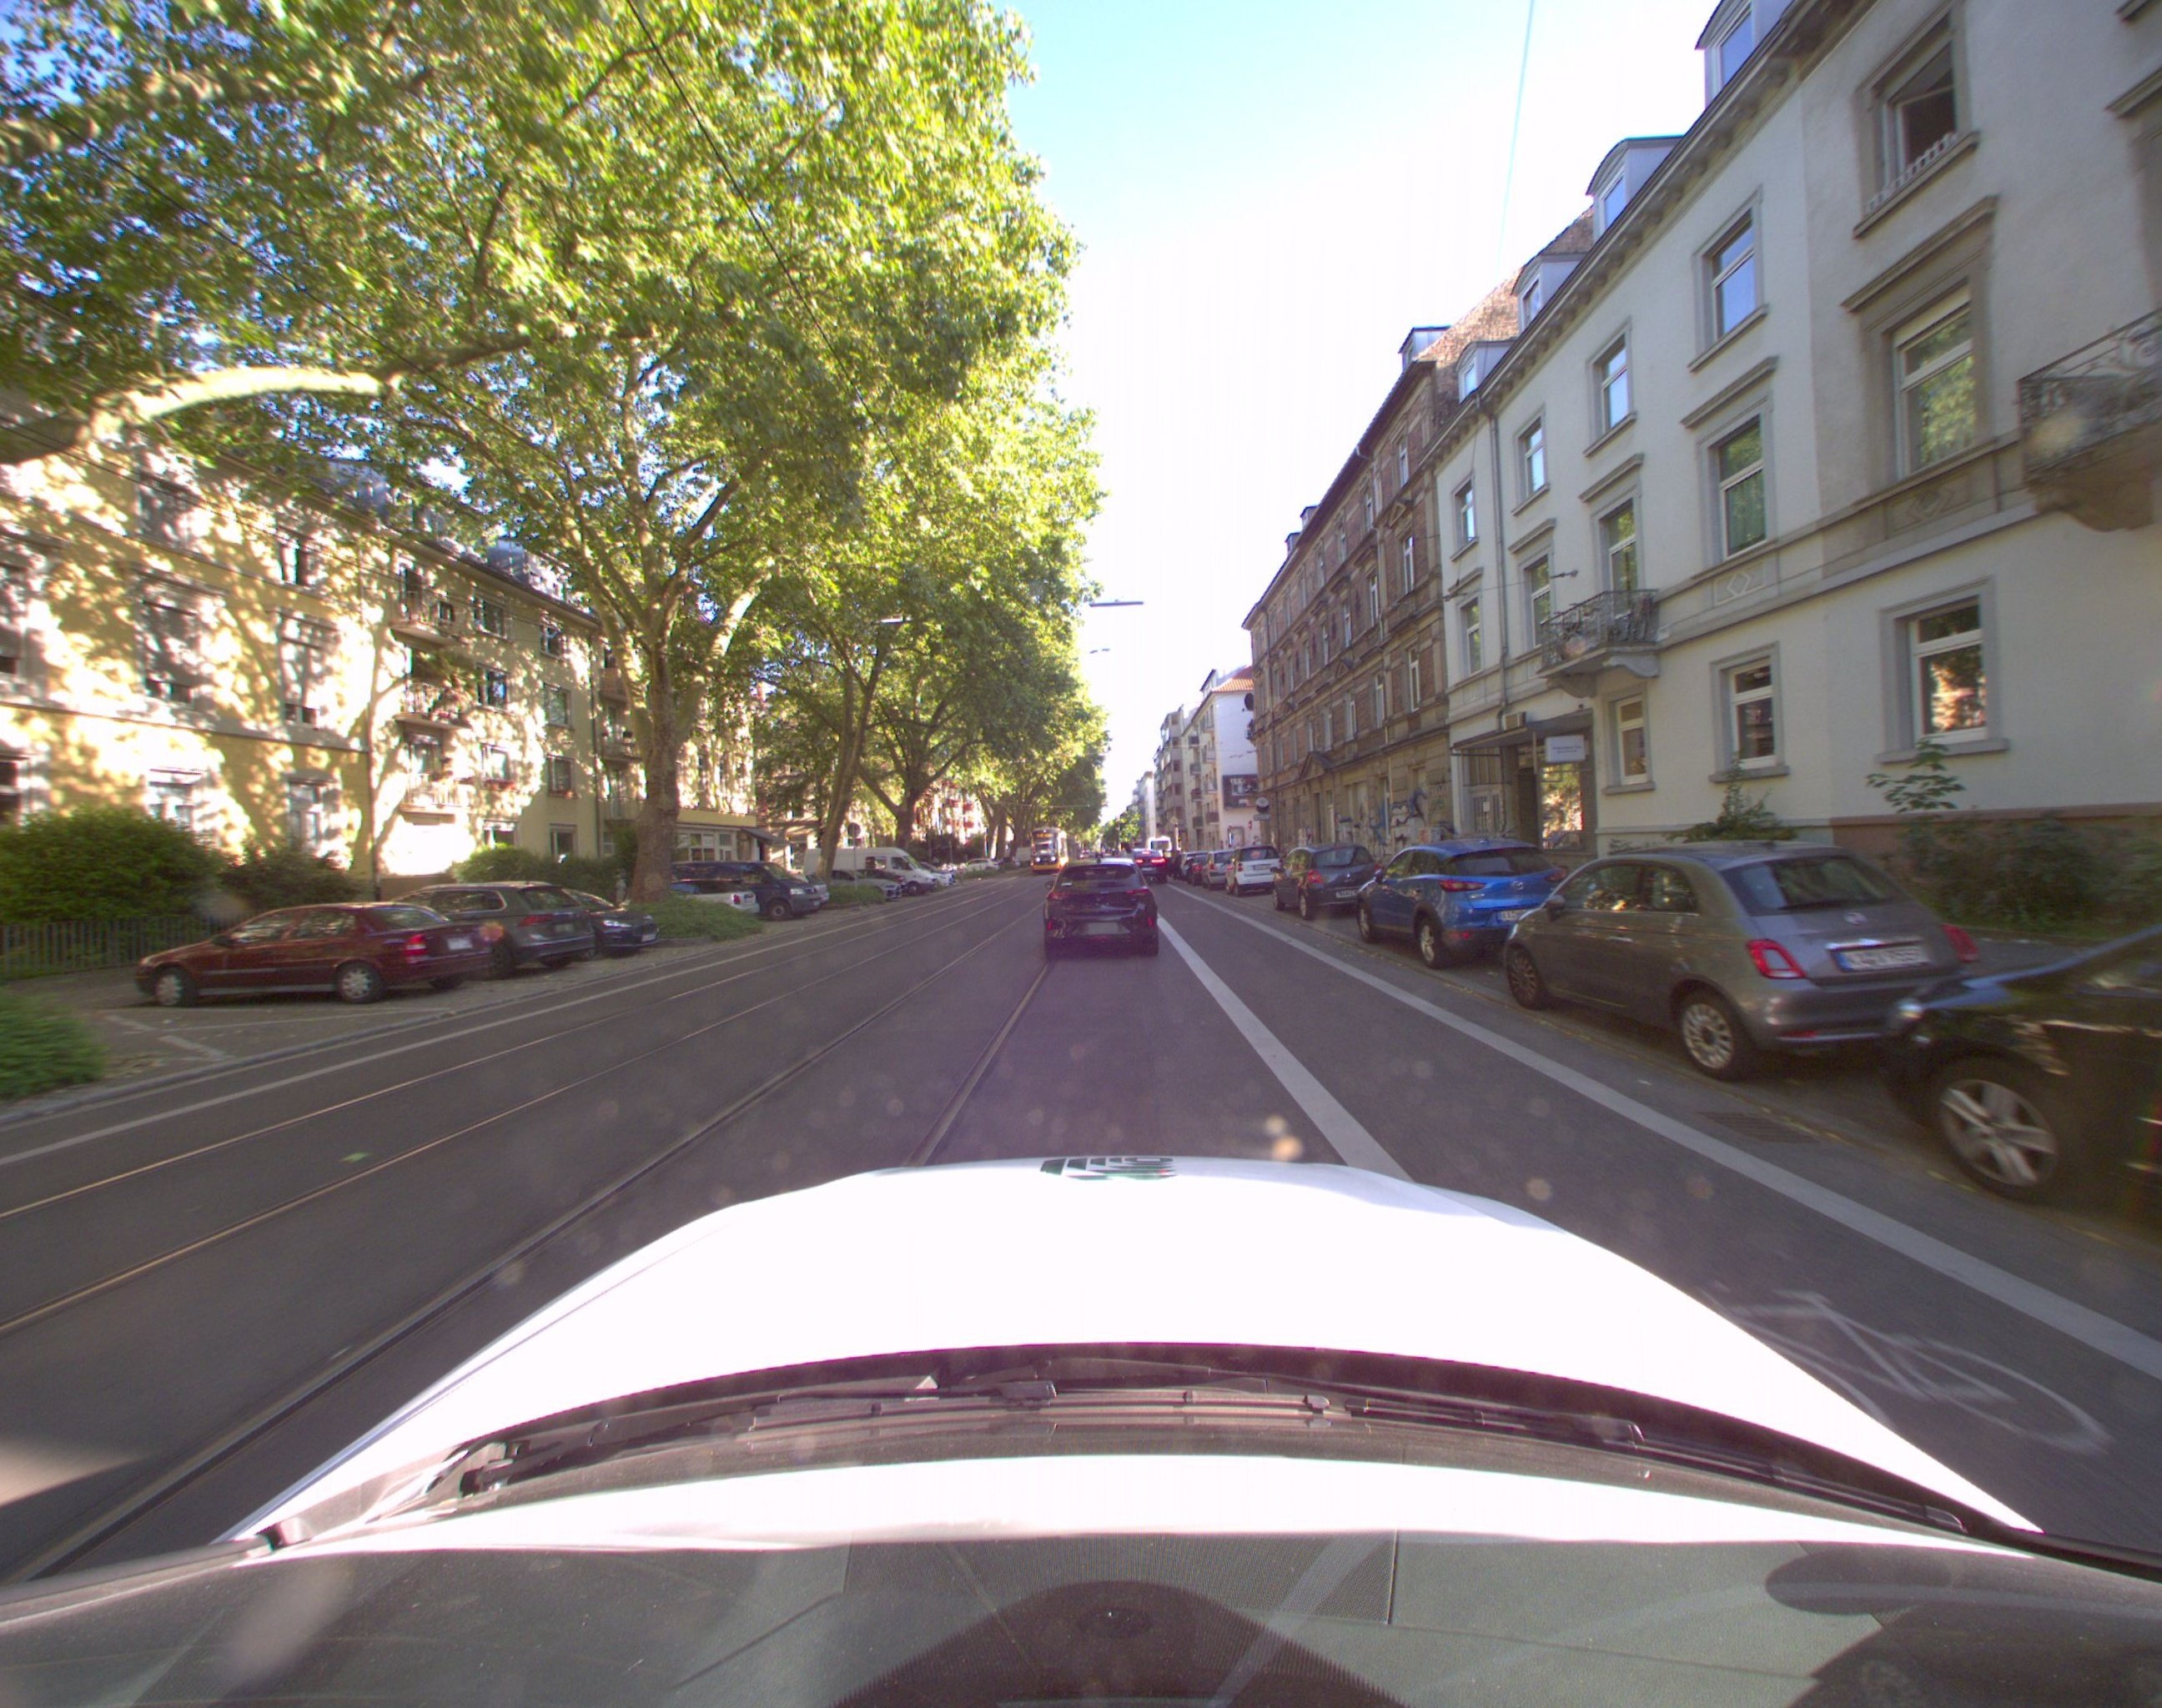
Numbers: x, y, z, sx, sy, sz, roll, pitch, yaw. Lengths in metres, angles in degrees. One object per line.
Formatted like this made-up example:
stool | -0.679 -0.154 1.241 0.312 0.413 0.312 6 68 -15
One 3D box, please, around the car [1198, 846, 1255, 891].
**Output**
car | 5.552 0.520 31.419 1.697 1.456 3.702 -6 0 5

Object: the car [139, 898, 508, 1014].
car | -11.216 1.477 12.262 3.905 1.442 1.749 -1 0 1

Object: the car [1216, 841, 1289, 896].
car | 5.492 0.437 26.364 1.563 1.517 3.039 -6 0 -1

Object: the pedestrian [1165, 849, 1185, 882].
pedestrian | 4.590 0.558 39.581 0.861 1.567 0.770 -2 0 8

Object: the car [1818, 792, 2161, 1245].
car | 4.840 0.558 2.299 1.874 1.585 3.933 -6 0 1

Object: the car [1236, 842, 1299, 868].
car | 14.087 0.066 61.651 4.363 1.798 1.876 -2 0 0

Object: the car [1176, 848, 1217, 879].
car | 5.982 0.470 42.557 1.655 1.419 3.936 -6 0 3

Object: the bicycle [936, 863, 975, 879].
bicycle | -9.994 1.379 64.879 2.919 1.169 0.995 -2 0 18

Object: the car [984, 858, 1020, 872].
car | -9.086 1.251 93.505 3.909 1.498 1.676 -1 0 -2

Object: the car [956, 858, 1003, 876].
car | -8.988 1.181 72.427 3.909 1.498 1.676 -1 0 -2

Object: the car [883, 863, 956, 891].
car | -9.486 1.340 48.048 3.909 1.498 1.676 -1 0 -2

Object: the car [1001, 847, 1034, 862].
car | -8.002 0.100 102.851 3.909 1.790 1.676 -1 0 -2

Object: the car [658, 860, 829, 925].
car | -10.822 1.202 26.346 4.656 1.924 1.981 -1 0 2

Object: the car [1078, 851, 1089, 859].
car | 0.460 0.190 149.221 1.802 1.338 3.935 -3 0 3

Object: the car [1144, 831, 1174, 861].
car | 6.558 -0.627 69.018 2.067 2.219 4.937 -6 0 3

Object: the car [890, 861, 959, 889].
car | -9.665 1.283 50.512 3.909 1.577 1.676 -1 0 -2

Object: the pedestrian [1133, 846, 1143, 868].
pedestrian | 4.163 0.194 59.549 0.676 1.567 0.770 -2 0 4

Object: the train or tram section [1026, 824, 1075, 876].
train or tram section | -2.274 -0.273 66.485 2.724 3.681 12.724 -4 0 3

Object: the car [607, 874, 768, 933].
car | -11.227 1.392 23.408 3.721 1.498 1.747 -1 0 1

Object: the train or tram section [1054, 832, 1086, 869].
train or tram section | -1.101 -0.363 91.918 2.724 3.681 12.724 -4 0 3

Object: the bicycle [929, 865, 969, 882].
bicycle | -10.353 1.547 63.764 2.919 1.169 0.995 -2 0 18

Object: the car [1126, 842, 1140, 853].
car | 7.594 -0.953 119.352 1.803 1.338 3.935 -6 0 3

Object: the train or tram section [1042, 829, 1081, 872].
train or tram section | -1.708 -0.295 79.189 2.724 3.681 12.724 -4 0 3

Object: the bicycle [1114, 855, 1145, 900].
bicycle | 1.627 0.773 27.688 0.858 1.407 2.524 -2 0 0

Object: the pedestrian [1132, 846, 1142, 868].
pedestrian | 4.019 0.200 58.735 0.676 1.567 0.770 -2 0 4

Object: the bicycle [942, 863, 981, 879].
bicycle | -9.654 1.365 65.992 2.919 1.169 0.995 -2 0 18

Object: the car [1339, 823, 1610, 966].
car | 5.165 0.466 11.404 1.873 1.456 4.028 -6 0 3

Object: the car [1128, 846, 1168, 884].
car | 3.263 0.506 40.136 1.802 1.742 3.935 -1 0 2

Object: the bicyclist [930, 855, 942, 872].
bicyclist | -15.175 1.025 85.356 0.984 1.756 1.154 -2 0 -1

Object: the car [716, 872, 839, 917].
car | -10.765 1.418 29.034 3.721 1.430 1.638 -1 0 1

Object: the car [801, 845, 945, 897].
car | -10.496 0.865 41.432 6.603 2.409 2.458 -1 0 1

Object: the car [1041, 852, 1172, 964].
car | 0.398 0.753 13.179 1.787 1.441 3.532 -2 1 1

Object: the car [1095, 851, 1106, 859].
car | 3.690 0.186 154.192 1.802 1.338 3.935 -3 0 3

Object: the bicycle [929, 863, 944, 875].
bicycle | -15.148 1.534 85.364 0.984 1.169 2.951 -2 0 0

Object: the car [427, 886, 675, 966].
car | -10.866 1.453 16.920 3.908 1.421 1.818 -1 0 -1

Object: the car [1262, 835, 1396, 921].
car | 5.247 0.467 17.739 1.705 1.483 3.764 -6 0 1

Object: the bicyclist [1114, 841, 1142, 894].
bicyclist | 1.596 0.461 27.741 0.845 1.740 1.162 -2 0 0

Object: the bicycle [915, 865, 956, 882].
bicycle | -11.199 1.486 62.623 2.919 1.169 0.995 -2 0 18

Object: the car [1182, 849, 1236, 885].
car | 5.588 0.539 35.917 1.803 1.338 3.935 -6 0 3

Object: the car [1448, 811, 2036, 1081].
car | 4.878 0.561 6.850 1.793 1.456 3.768 -6 0 0

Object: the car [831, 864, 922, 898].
car | -9.728 1.281 38.978 3.909 1.498 1.676 -1 0 -2

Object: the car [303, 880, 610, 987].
car | -10.942 1.354 14.497 3.980 1.627 1.880 -1 0 1

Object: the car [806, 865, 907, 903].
car | -9.778 1.301 35.683 3.904 1.498 1.678 -1 0 2
